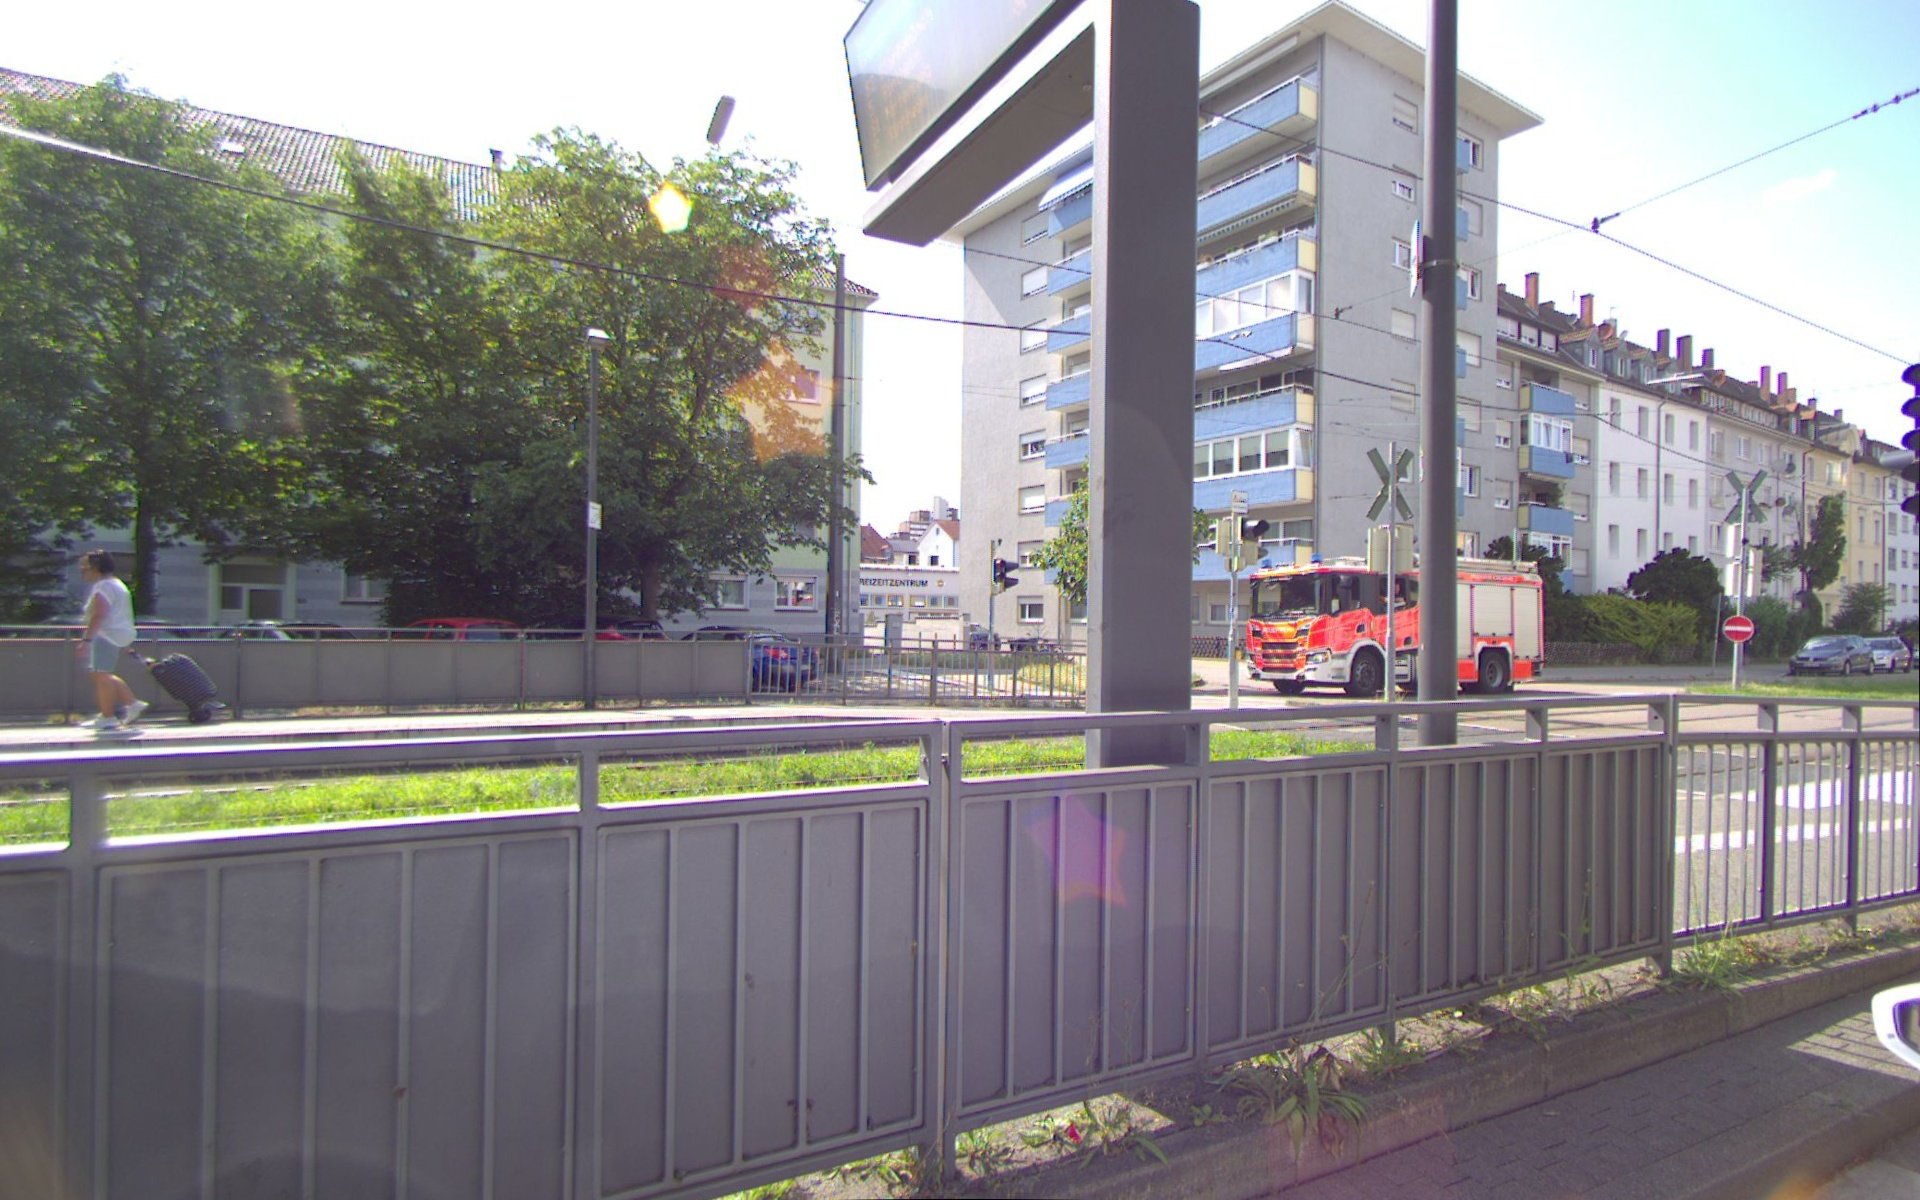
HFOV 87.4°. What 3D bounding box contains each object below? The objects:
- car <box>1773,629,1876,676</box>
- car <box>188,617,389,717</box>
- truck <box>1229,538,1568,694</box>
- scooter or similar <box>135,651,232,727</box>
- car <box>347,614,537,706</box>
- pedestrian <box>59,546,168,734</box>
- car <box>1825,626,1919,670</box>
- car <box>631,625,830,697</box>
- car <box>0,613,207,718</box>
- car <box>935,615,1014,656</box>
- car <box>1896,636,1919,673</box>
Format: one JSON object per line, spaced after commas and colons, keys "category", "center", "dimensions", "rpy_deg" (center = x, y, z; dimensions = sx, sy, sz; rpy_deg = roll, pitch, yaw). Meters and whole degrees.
{"category": "car", "center": [34.268, 2.073, 39.789], "dimensions": [3.956, 1.667, 1.982], "rpy_deg": [2, 0, -32]}
{"category": "car", "center": [-12.064, 1.117, 18.002], "dimensions": [3.603, 1.600, 1.645], "rpy_deg": [0, -1, 32]}
{"category": "truck", "center": [10.492, 0.448, 23.750], "dimensions": [8.273, 3.228, 2.587], "rpy_deg": [2, 0, -27]}
{"category": "scooter or similar", "center": [-7.729, 0.874, 10.022], "dimensions": [0.692, 0.708, 0.440], "rpy_deg": [1, -1, -29]}
{"category": "car", "center": [-9.988, 1.083, 19.325], "dimensions": [3.603, 1.600, 1.645], "rpy_deg": [0, -1, 32]}
{"category": "pedestrian", "center": [-7.956, 0.368, 9.467], "dimensions": [0.624, 1.686, 0.657], "rpy_deg": [1, -1, -29]}
{"category": "car", "center": [39.254, 2.075, 43.225], "dimensions": [3.956, 1.734, 1.982], "rpy_deg": [2, 0, -32]}
{"category": "car", "center": [-4.991, 1.274, 21.811], "dimensions": [4.055, 1.413, 1.608], "rpy_deg": [0, -1, 24]}
{"category": "car", "center": [-14.210, 0.995, 16.558], "dimensions": [3.959, 1.534, 1.605], "rpy_deg": [0, -1, 33]}
{"category": "car", "center": [0.642, 1.636, 47.548], "dimensions": [1.976, 1.706, 3.968], "rpy_deg": [2, 0, -30]}
{"category": "car", "center": [47.363, 2.662, 48.782], "dimensions": [3.960, 1.734, 1.981], "rpy_deg": [2, 0, -35]}
